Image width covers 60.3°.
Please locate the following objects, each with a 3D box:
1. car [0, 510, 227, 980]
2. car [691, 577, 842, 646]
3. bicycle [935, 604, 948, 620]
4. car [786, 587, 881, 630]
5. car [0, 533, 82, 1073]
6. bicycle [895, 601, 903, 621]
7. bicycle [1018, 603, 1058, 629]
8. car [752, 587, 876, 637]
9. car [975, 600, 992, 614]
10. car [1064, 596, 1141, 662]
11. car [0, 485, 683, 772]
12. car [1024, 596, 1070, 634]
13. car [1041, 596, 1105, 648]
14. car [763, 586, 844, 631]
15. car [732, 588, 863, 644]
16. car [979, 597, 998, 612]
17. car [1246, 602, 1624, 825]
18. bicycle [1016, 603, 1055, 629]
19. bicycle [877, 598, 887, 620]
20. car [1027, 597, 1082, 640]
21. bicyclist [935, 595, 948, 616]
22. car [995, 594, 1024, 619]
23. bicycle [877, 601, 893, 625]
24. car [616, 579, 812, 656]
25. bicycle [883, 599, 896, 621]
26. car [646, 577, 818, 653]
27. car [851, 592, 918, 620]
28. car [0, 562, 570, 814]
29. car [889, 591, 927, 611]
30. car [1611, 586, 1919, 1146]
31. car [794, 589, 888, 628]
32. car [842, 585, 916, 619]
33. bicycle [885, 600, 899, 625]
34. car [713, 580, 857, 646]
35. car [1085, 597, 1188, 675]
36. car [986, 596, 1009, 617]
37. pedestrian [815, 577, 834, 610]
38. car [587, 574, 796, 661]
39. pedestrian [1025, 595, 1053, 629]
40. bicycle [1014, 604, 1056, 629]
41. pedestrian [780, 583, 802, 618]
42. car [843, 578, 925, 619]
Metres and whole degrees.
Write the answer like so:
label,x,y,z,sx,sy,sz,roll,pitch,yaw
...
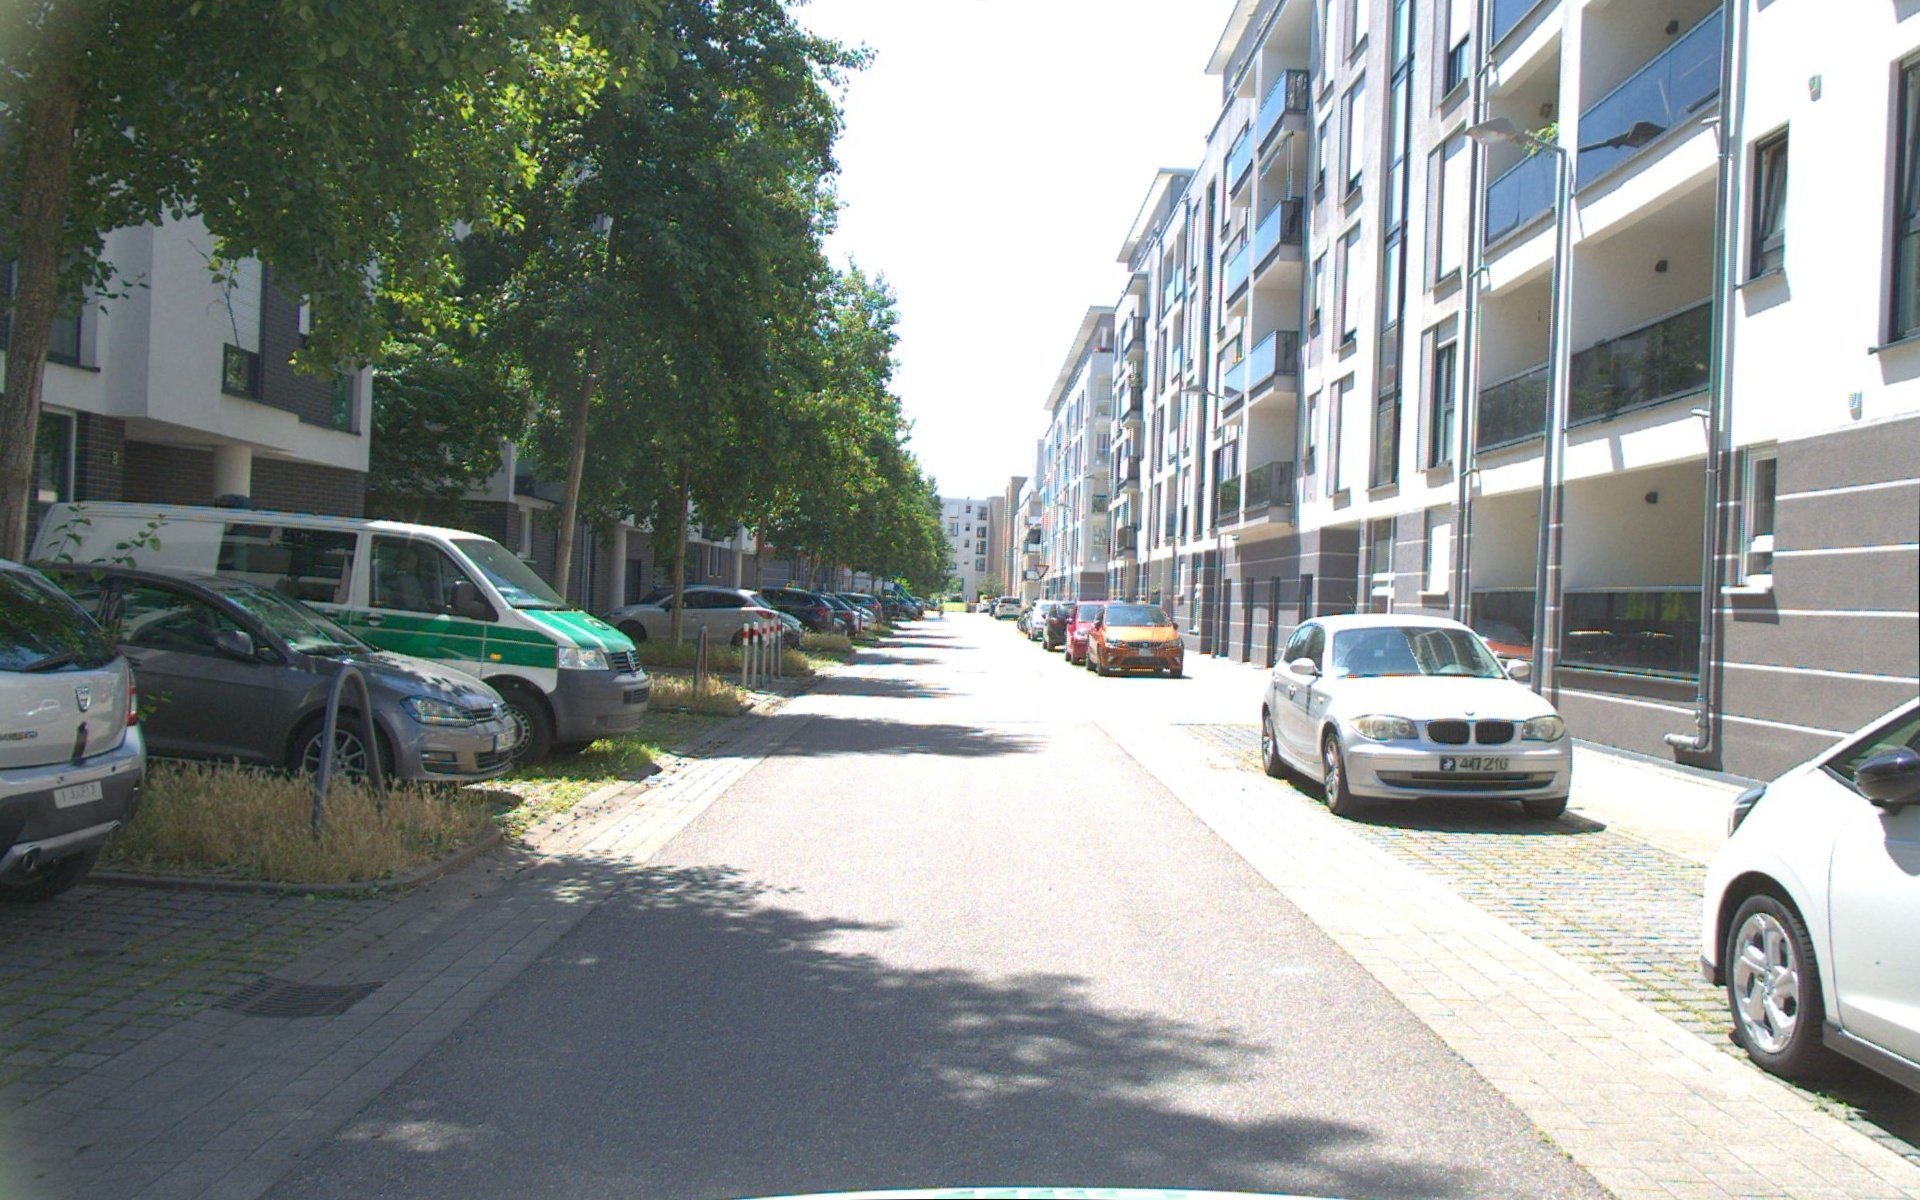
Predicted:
label,x,y,z,sx,sy,sz,roll,pitch,yaw
car,-5.253,0.423,6.749,3.605,1.705,1.852,3,0,-1
car,-5.344,0.306,46.106,3.906,1.657,1.933,3,0,0
bicycle,-1.310,0.839,116.984,0.880,1.149,2.039,2,0,-1
car,-5.379,0.347,70.871,3.858,1.580,1.872,3,0,-1
car,-5.007,0.471,4.112,4.470,1.621,1.964,4,0,-5
bicycle,-3.690,0.654,99.912,0.456,1.161,1.925,1,0,-2
bicycle,3.588,0.732,75.925,1.806,1.168,0.458,1,0,-20
car,-5.107,0.409,58.292,4.273,1.740,1.999,0,0,-3
car,2.984,0.888,212.920,1.953,1.747,3.999,2,0,-1
car,3.416,0.672,40.116,1.562,1.511,3.675,0,0,0
car,-5.243,0.218,14.288,5.231,2.147,2.188,2,0,2
car,3.624,0.596,69.593,1.703,1.511,4.229,1,0,0
car,3.363,0.624,49.885,1.609,1.488,4.117,0,0,-1
car,-5.997,0.317,63.707,2.874,1.526,1.848,4,0,-2
car,-5.002,0.481,51.277,3.896,1.470,1.774,3,0,-4
car,3.166,0.495,185.696,1.953,1.704,3.999,2,0,-1
car,3.602,0.772,13.411,1.808,1.441,4.426,2,0,1
bicycle,3.572,0.738,78.287,1.821,1.214,0.687,1,0,3
bicycle,-4.691,0.538,99.696,0.425,1.225,1.700,3,1,1
car,3.458,0.663,61.274,1.796,1.531,4.350,0,0,0
bicyclist,-1.311,0.404,116.950,0.934,1.485,0.799,2,0,-1
car,3.488,0.460,117.035,1.956,1.686,4.115,1,0,0
bicycle,-3.691,0.645,81.182,0.426,1.147,1.973,1,0,-12
car,-5.684,0.398,38.633,4.229,1.501,1.792,3,0,0
bicycle,-4.267,0.583,99.691,0.559,1.194,1.766,5,1,-7
car,-5.631,0.355,41.194,3.905,1.619,1.884,3,0,0
car,-4.978,0.396,109.811,4.294,1.541,2.075,4,0,0
car,-5.110,0.544,11.447,4.331,1.516,1.999,2,0,-2
car,-5.677,0.079,181.265,3.902,2.049,2.001,2,0,6
car,3.516,0.733,4.397,1.771,1.531,4.259,0,0,-2
car,-5.289,0.378,73.768,4.098,1.512,1.957,3,-1,-4
car,-5.727,0.117,116.994,5.040,2.156,2.311,3,0,0
bicycle,-3.336,0.625,81.211,0.364,1.201,1.815,1,0,-12
car,-5.105,0.376,48.632,3.905,1.679,1.918,3,0,1
car,3.627,0.708,34.582,1.702,1.513,4.258,0,0,0
car,3.120,0.540,137.143,1.721,1.579,4.002,2,0,3
pedestrian,-8.566,-0.413,104.441,0.988,2.049,1.130,1,0,3
car,-5.804,0.372,36.186,4.166,1.544,1.924,4,0,-1
pedestrian,3.605,0.554,75.469,1.157,1.541,0.686,1,0,-10
bicycle,3.456,0.756,76.290,1.882,1.153,0.609,1,0,9
pedestrian,-8.542,0.027,83.489,0.979,1.720,0.832,1,0,2
car,-5.601,-0.094,122.427,5.900,2.865,2.605,1,0,0
